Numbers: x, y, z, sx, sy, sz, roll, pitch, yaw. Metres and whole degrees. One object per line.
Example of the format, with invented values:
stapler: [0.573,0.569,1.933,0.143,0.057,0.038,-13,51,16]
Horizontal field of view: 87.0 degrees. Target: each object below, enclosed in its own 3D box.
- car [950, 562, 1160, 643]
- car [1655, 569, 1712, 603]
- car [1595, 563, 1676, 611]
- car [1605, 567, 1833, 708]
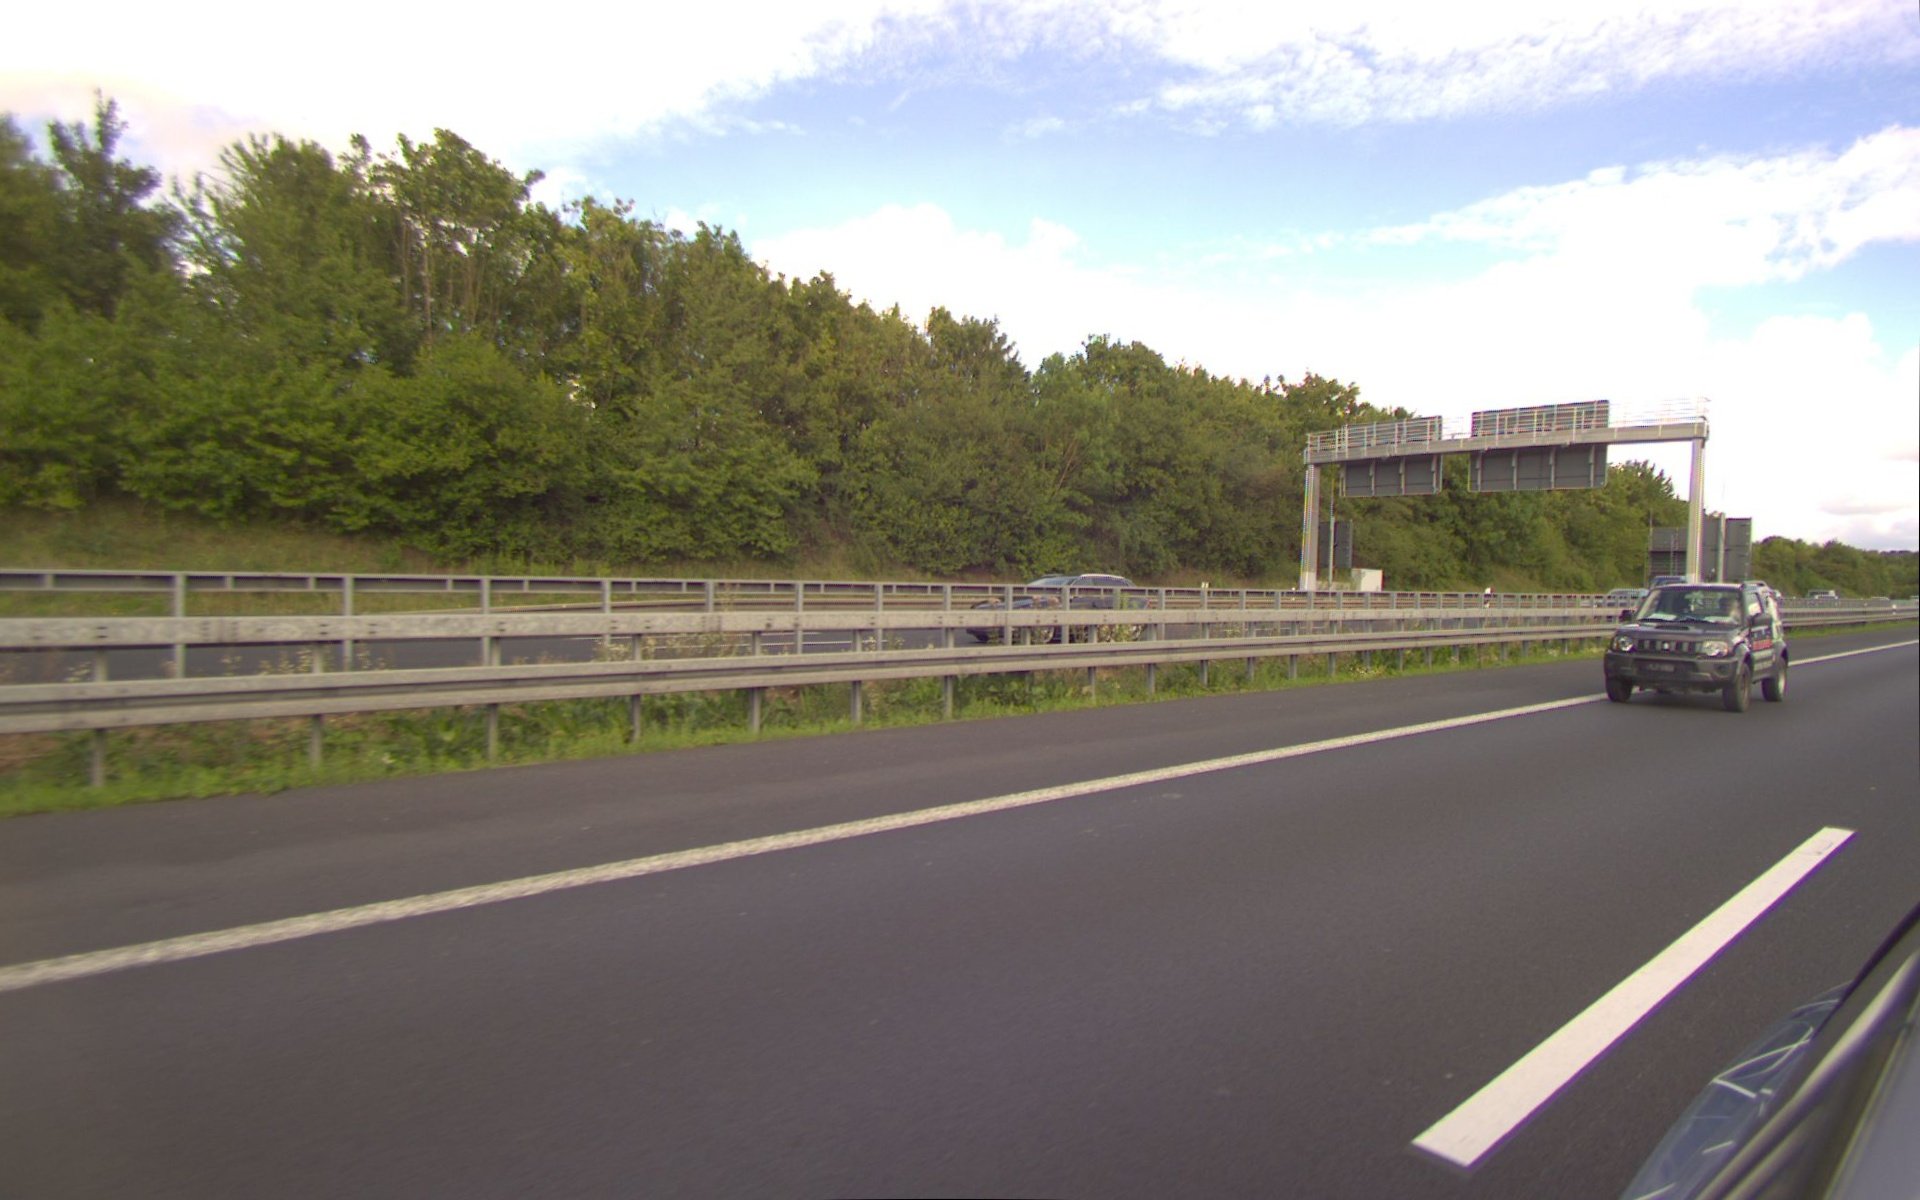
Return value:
car: [2.042,0.015,21.095,4.236,1.503,1.997,0,2,-41]
car: [48.876,-0.962,68.351,5.039,2.212,1.997,0,2,-42]
car: [30.939,-0.591,46.304,3.929,2.038,1.998,0,3,-40]
car: [11.097,0.446,14.700,4.131,1.754,1.671,0,2,-39]
